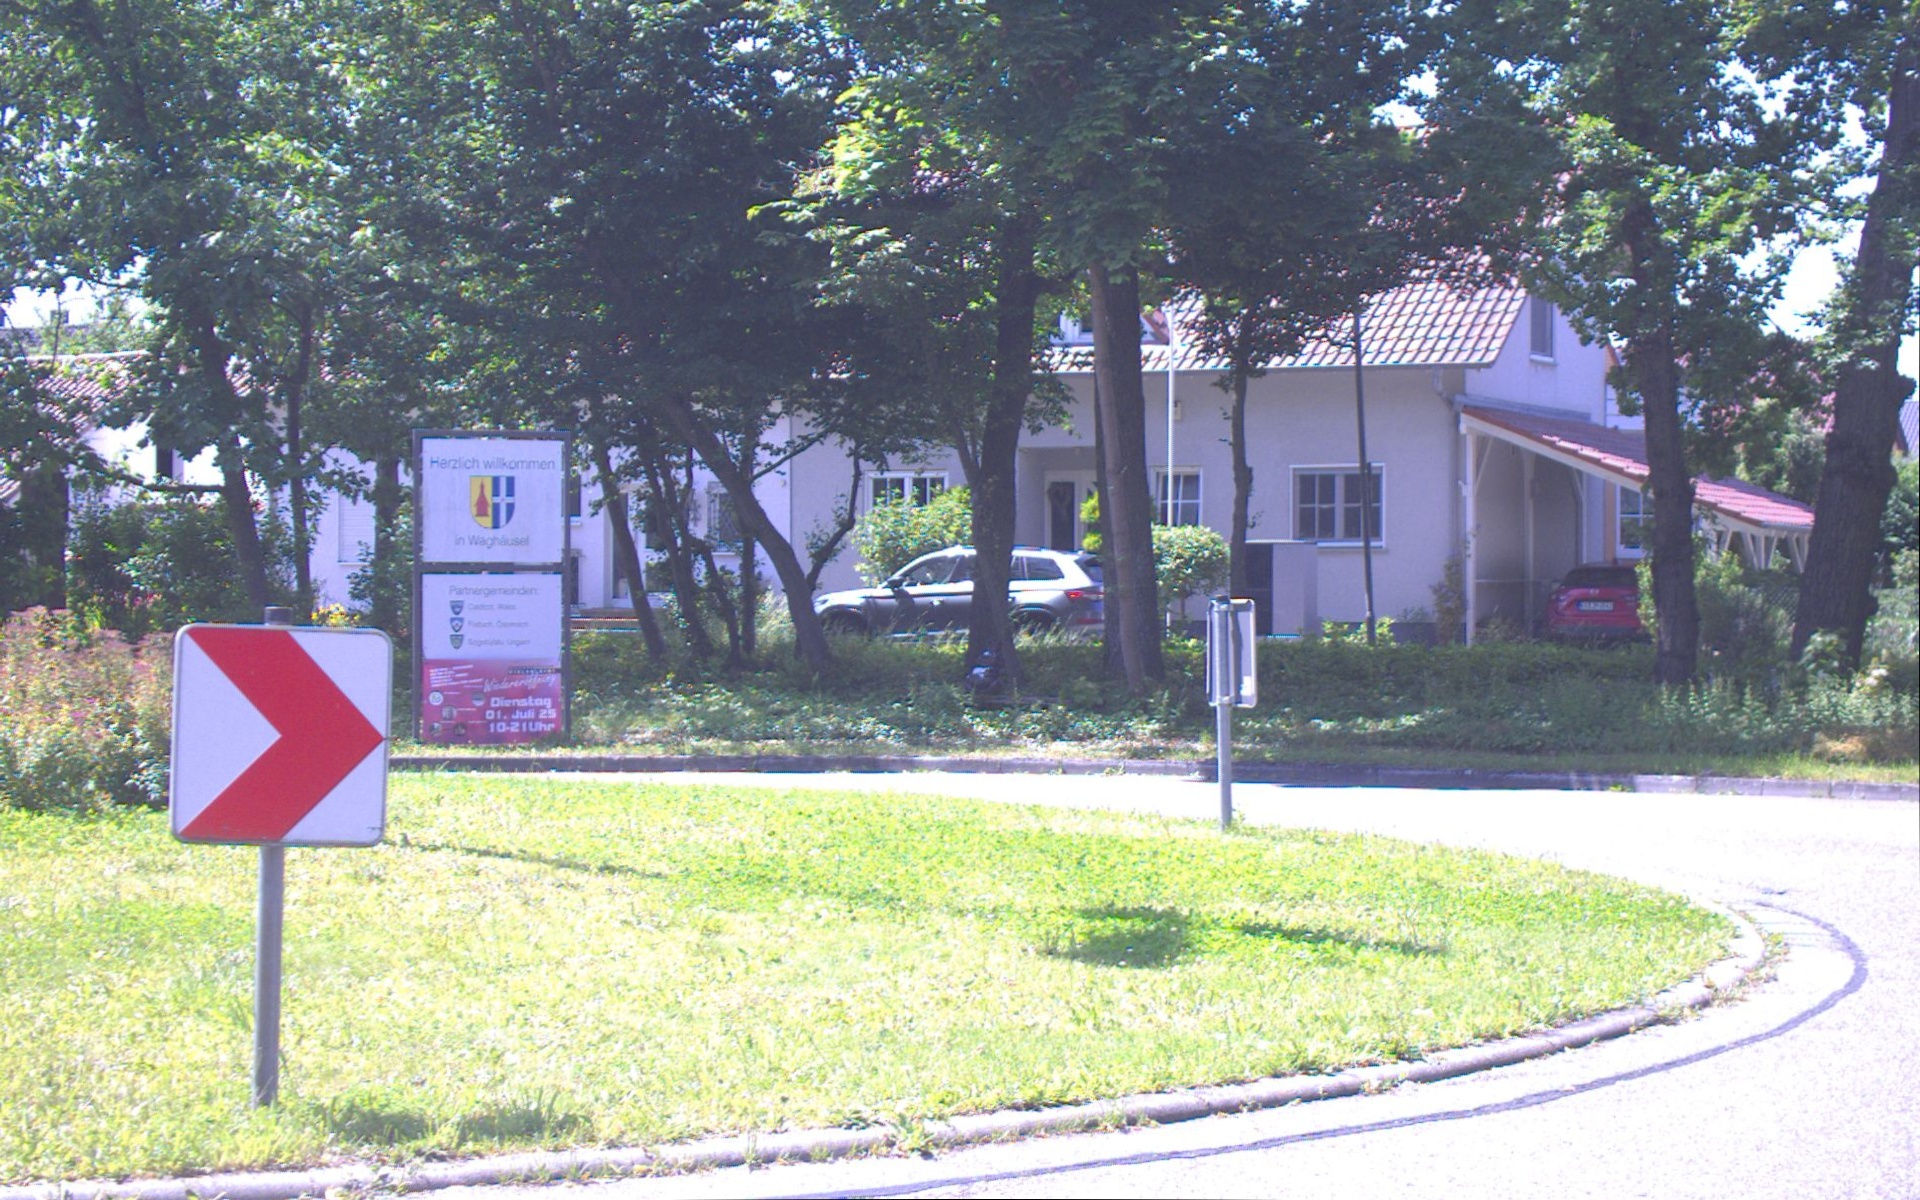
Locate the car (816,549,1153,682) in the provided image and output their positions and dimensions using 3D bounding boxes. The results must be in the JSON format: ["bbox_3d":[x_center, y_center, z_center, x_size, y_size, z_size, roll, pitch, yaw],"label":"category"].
[{"bbox_3d":[0.321,0.185,45.556,4.135,1.699,1.664,0,0,24],"label":"car"}]

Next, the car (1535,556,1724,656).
[{"bbox_3d":[9.685,0.062,49.552,1.682,1.381,3.688,0,1,28],"label":"car"}]
